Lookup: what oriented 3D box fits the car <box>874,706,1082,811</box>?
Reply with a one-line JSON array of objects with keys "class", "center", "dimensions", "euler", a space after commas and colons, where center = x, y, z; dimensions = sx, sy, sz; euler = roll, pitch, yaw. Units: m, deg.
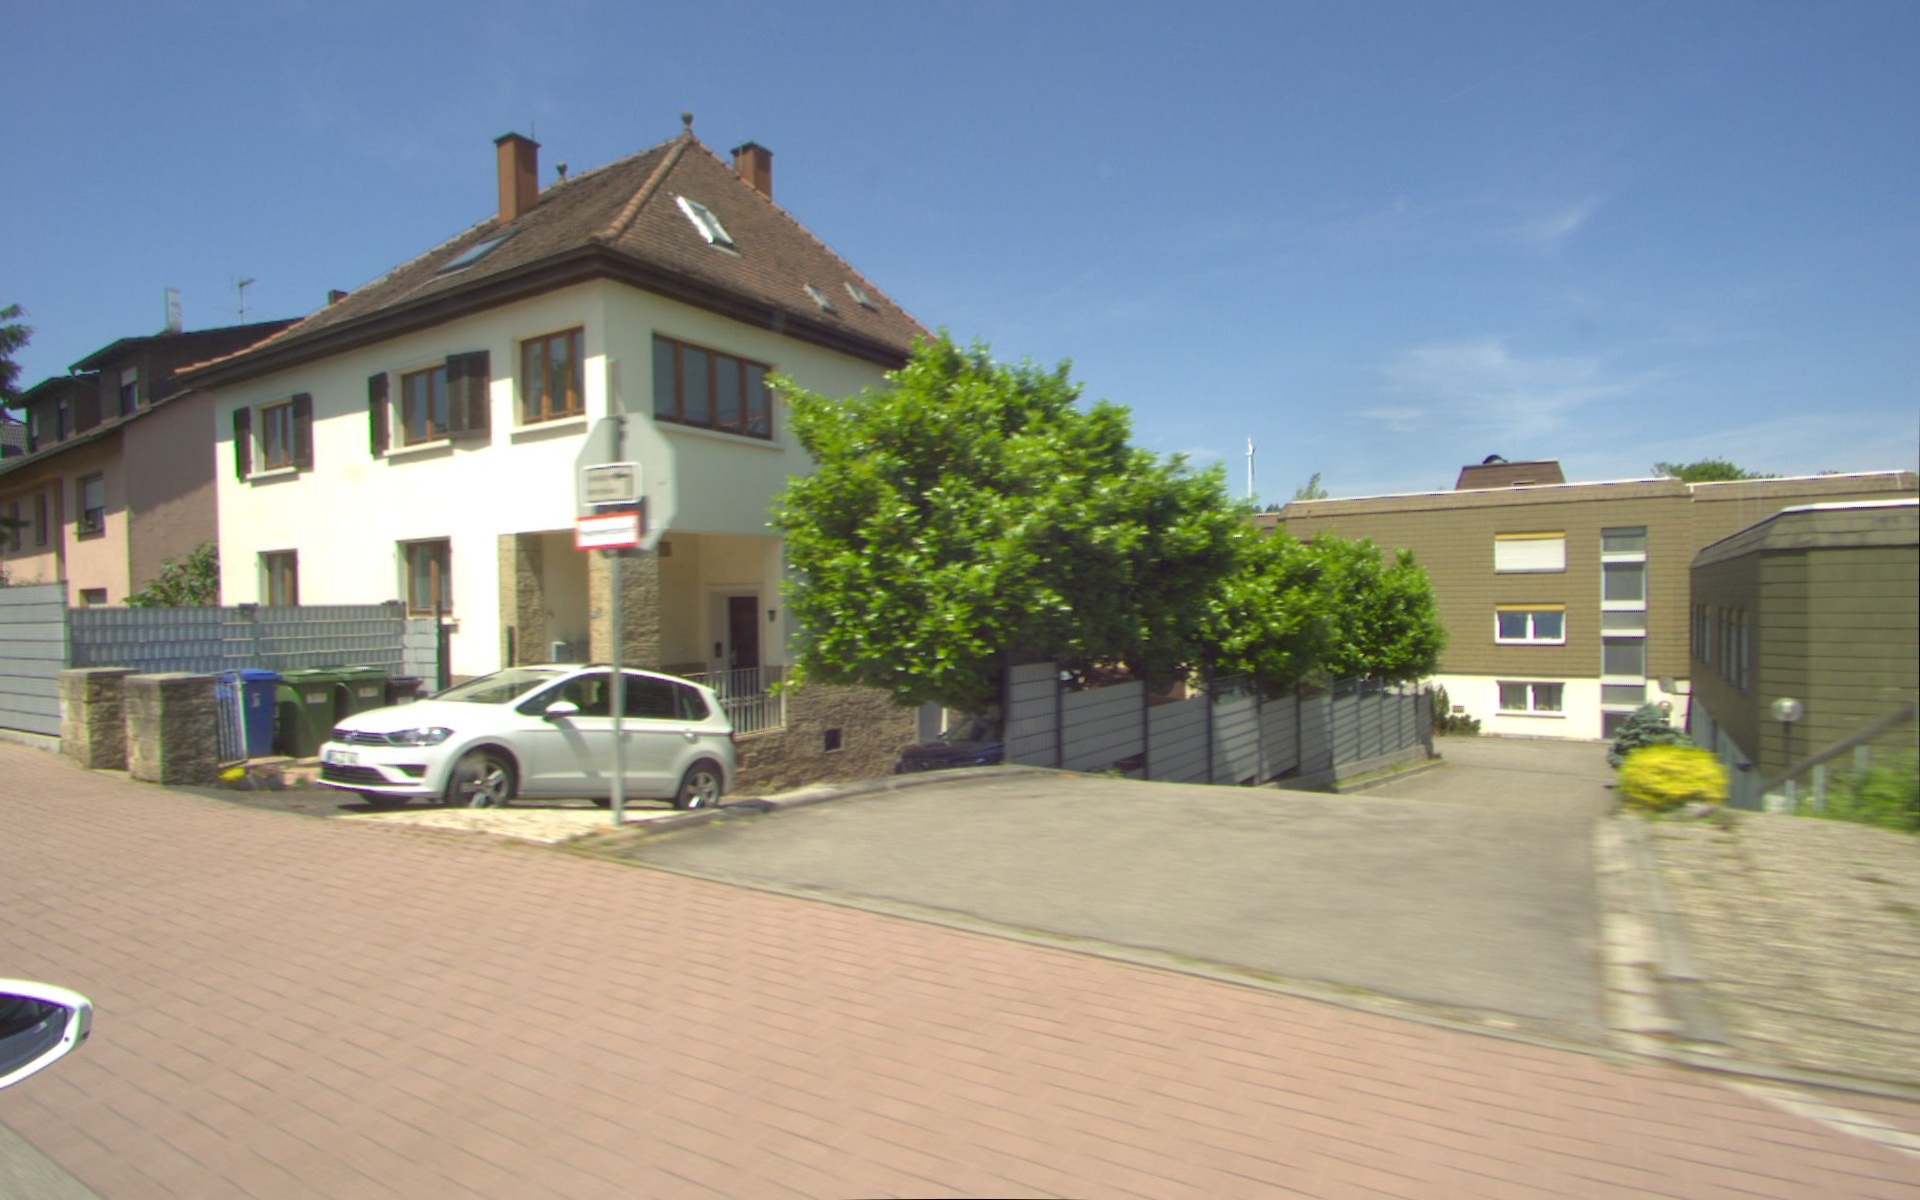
[{"class": "car", "center": [0.471, 2.861, 18.533], "dimensions": [1.990, 1.605, 4.169], "euler": [-1, -7, 32]}]

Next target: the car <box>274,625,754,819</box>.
[{"class": "car", "center": [-4.394, 1.387, 10.584], "dimensions": [1.879, 1.603, 4.175], "euler": [-1, -10, 32]}]
